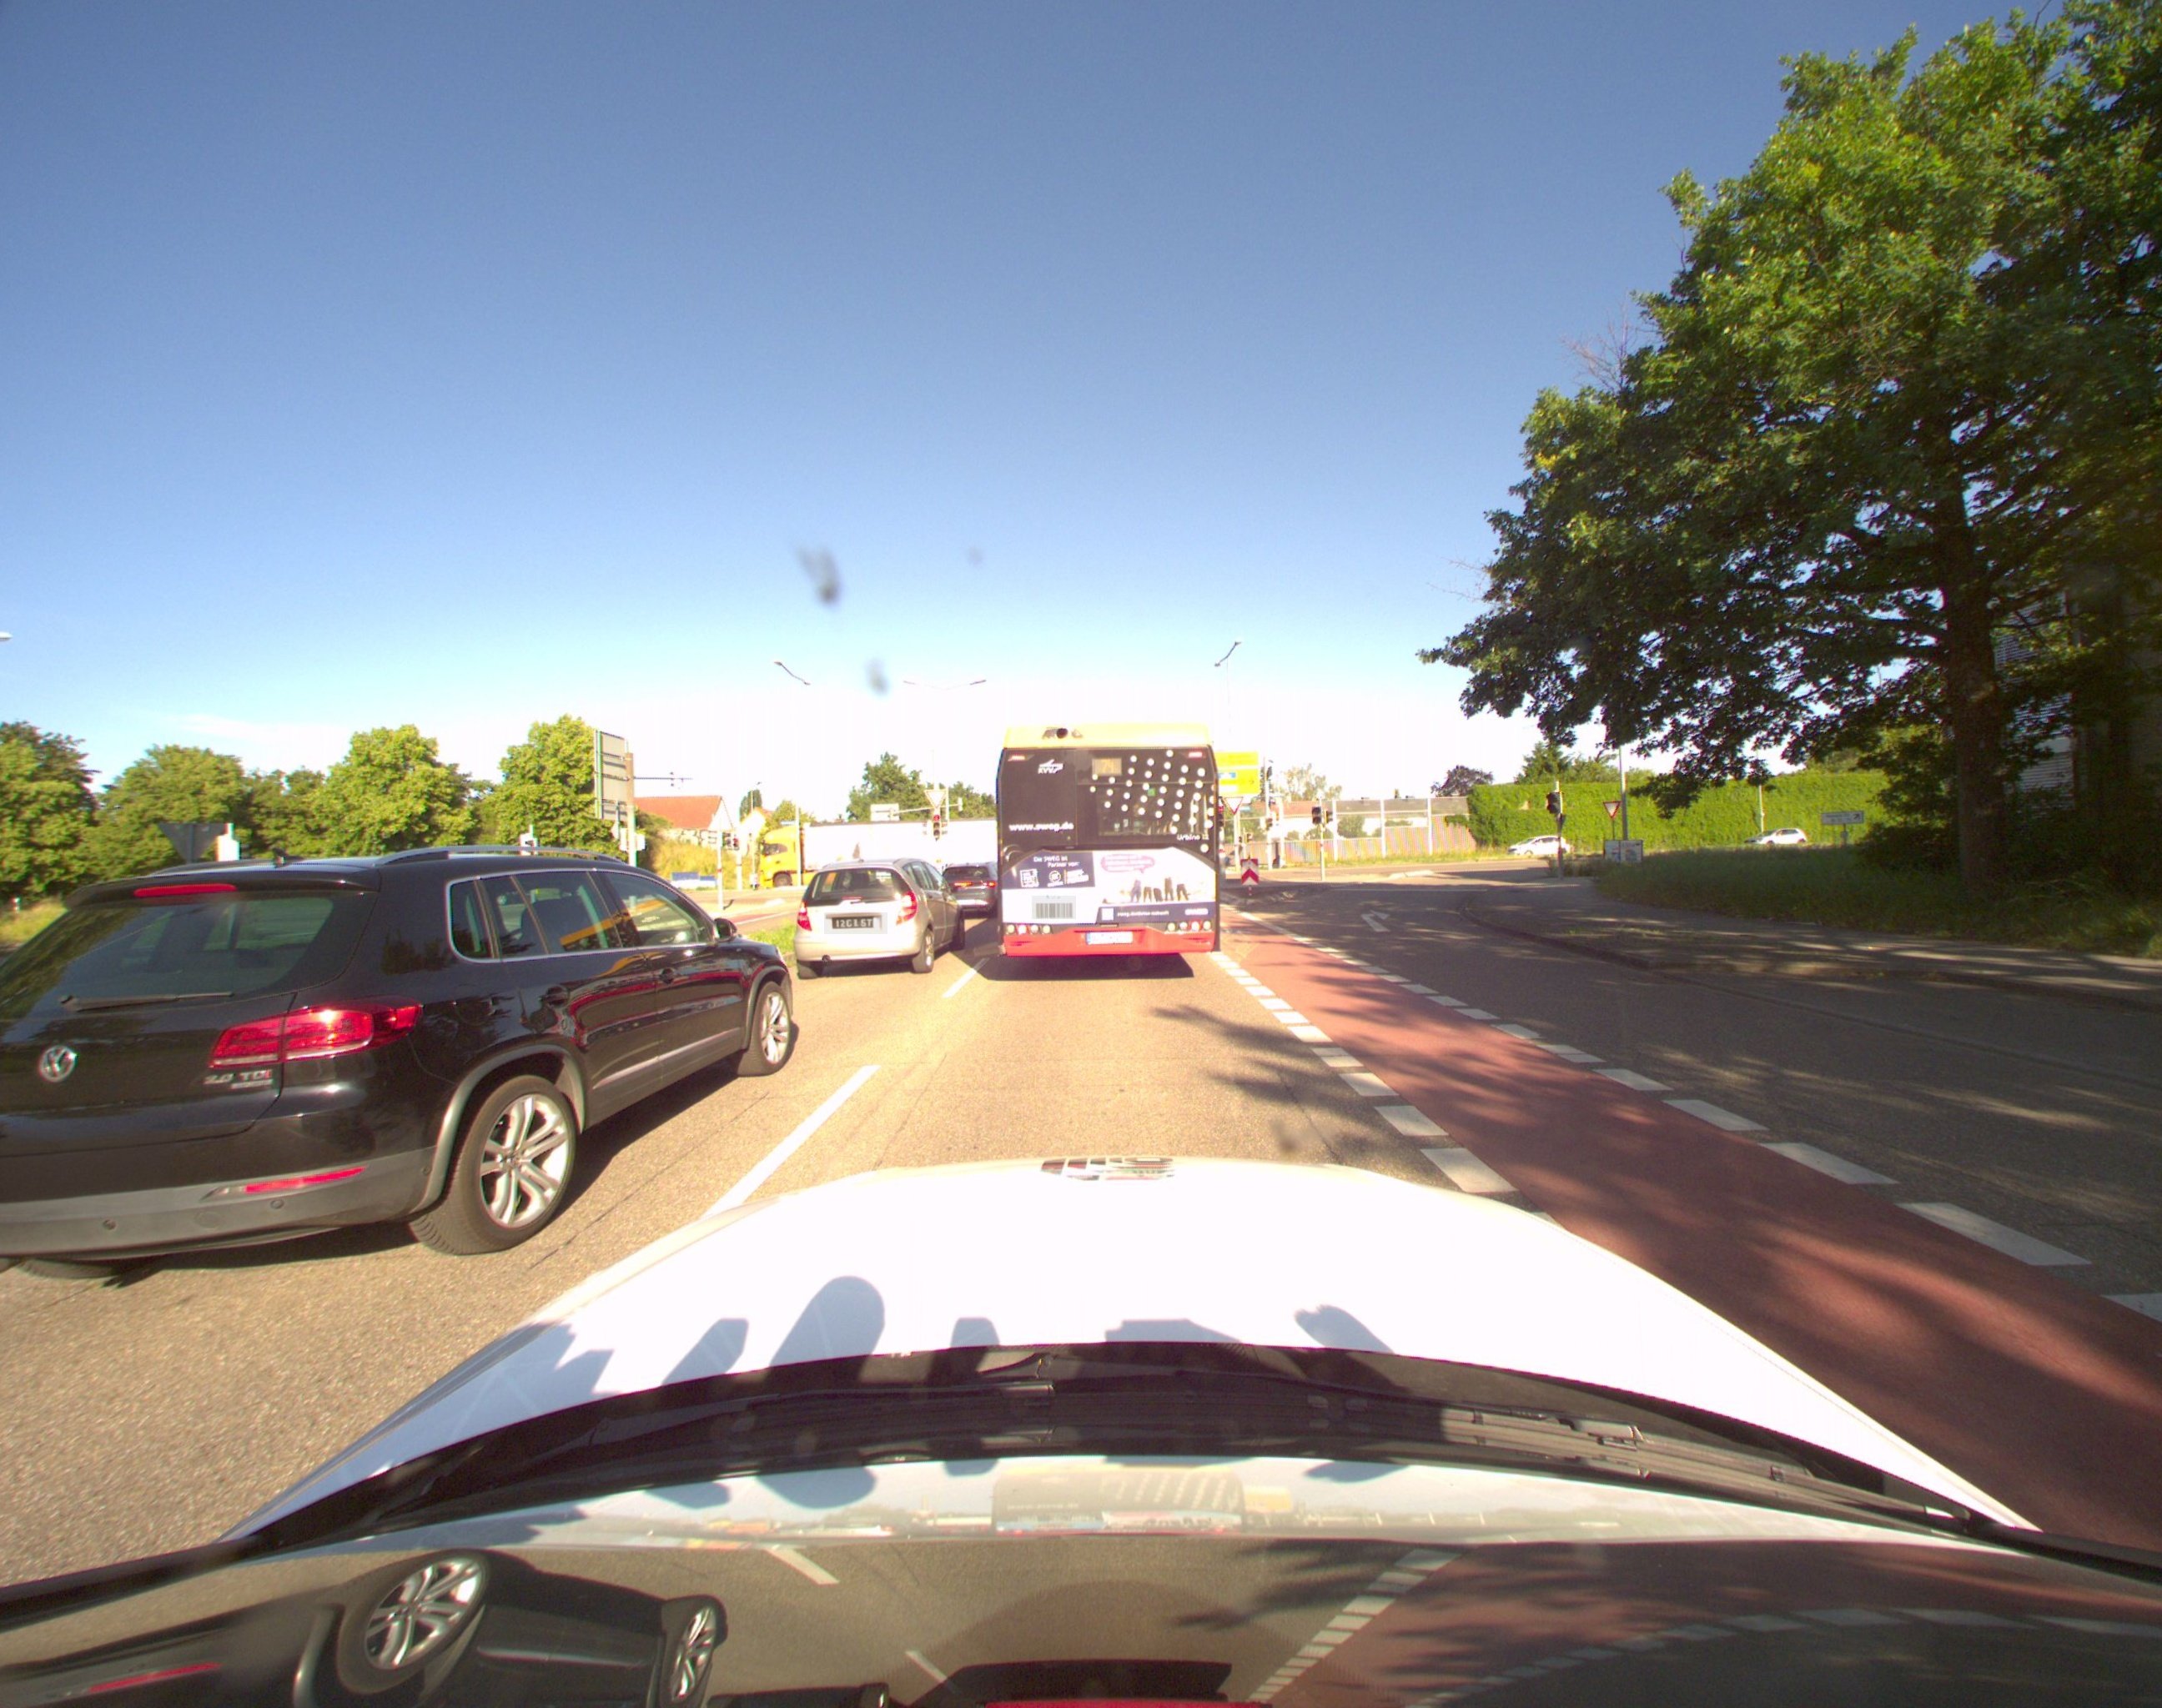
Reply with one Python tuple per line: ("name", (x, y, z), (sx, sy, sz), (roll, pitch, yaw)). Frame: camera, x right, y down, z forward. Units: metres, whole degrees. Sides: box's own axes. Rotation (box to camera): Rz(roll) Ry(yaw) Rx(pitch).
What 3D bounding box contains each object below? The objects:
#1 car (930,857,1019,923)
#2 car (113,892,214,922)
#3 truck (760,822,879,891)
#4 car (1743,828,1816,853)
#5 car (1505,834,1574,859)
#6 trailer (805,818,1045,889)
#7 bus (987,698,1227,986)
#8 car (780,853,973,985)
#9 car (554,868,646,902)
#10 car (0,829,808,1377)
("car", (-2.687, 0.862, 21.318), (1.686, 1.458, 3.751), (-3, 0, 1))
("car", (-53.186, 3.070, 47.291), (3.588, 1.459, 1.569), (-2, 0, -14))
("truck", (-16.516, 0.144, 51.837), (6.464, 4.013, 3.435), (-2, 0, -5))
("car", (51.910, -0.976, 60.552), (3.980, 1.816, 1.920), (0, -1, -5))
("car", (31.251, -0.490, 55.594), (3.800, 1.612, 1.704), (0, -1, -5))
("trailer", (-9.742, -0.072, 52.438), (14.631, 4.013, 3.435), (-2, 0, -5))
("bus", (0.525, -0.160, 15.022), (2.632, 3.167, 11.867), (-1, 0, 2))
("car", (-2.873, 0.829, 12.384), (1.755, 1.589, 4.001), (-3, 0, 1))
("car", (-24.568, 1.549, 41.677), (3.577, 1.560, 1.747), (-2, 0, -5))
("car", (-3.169, 0.804, 4.558), (1.766, 1.653, 4.001), (-3, 0, 1))
